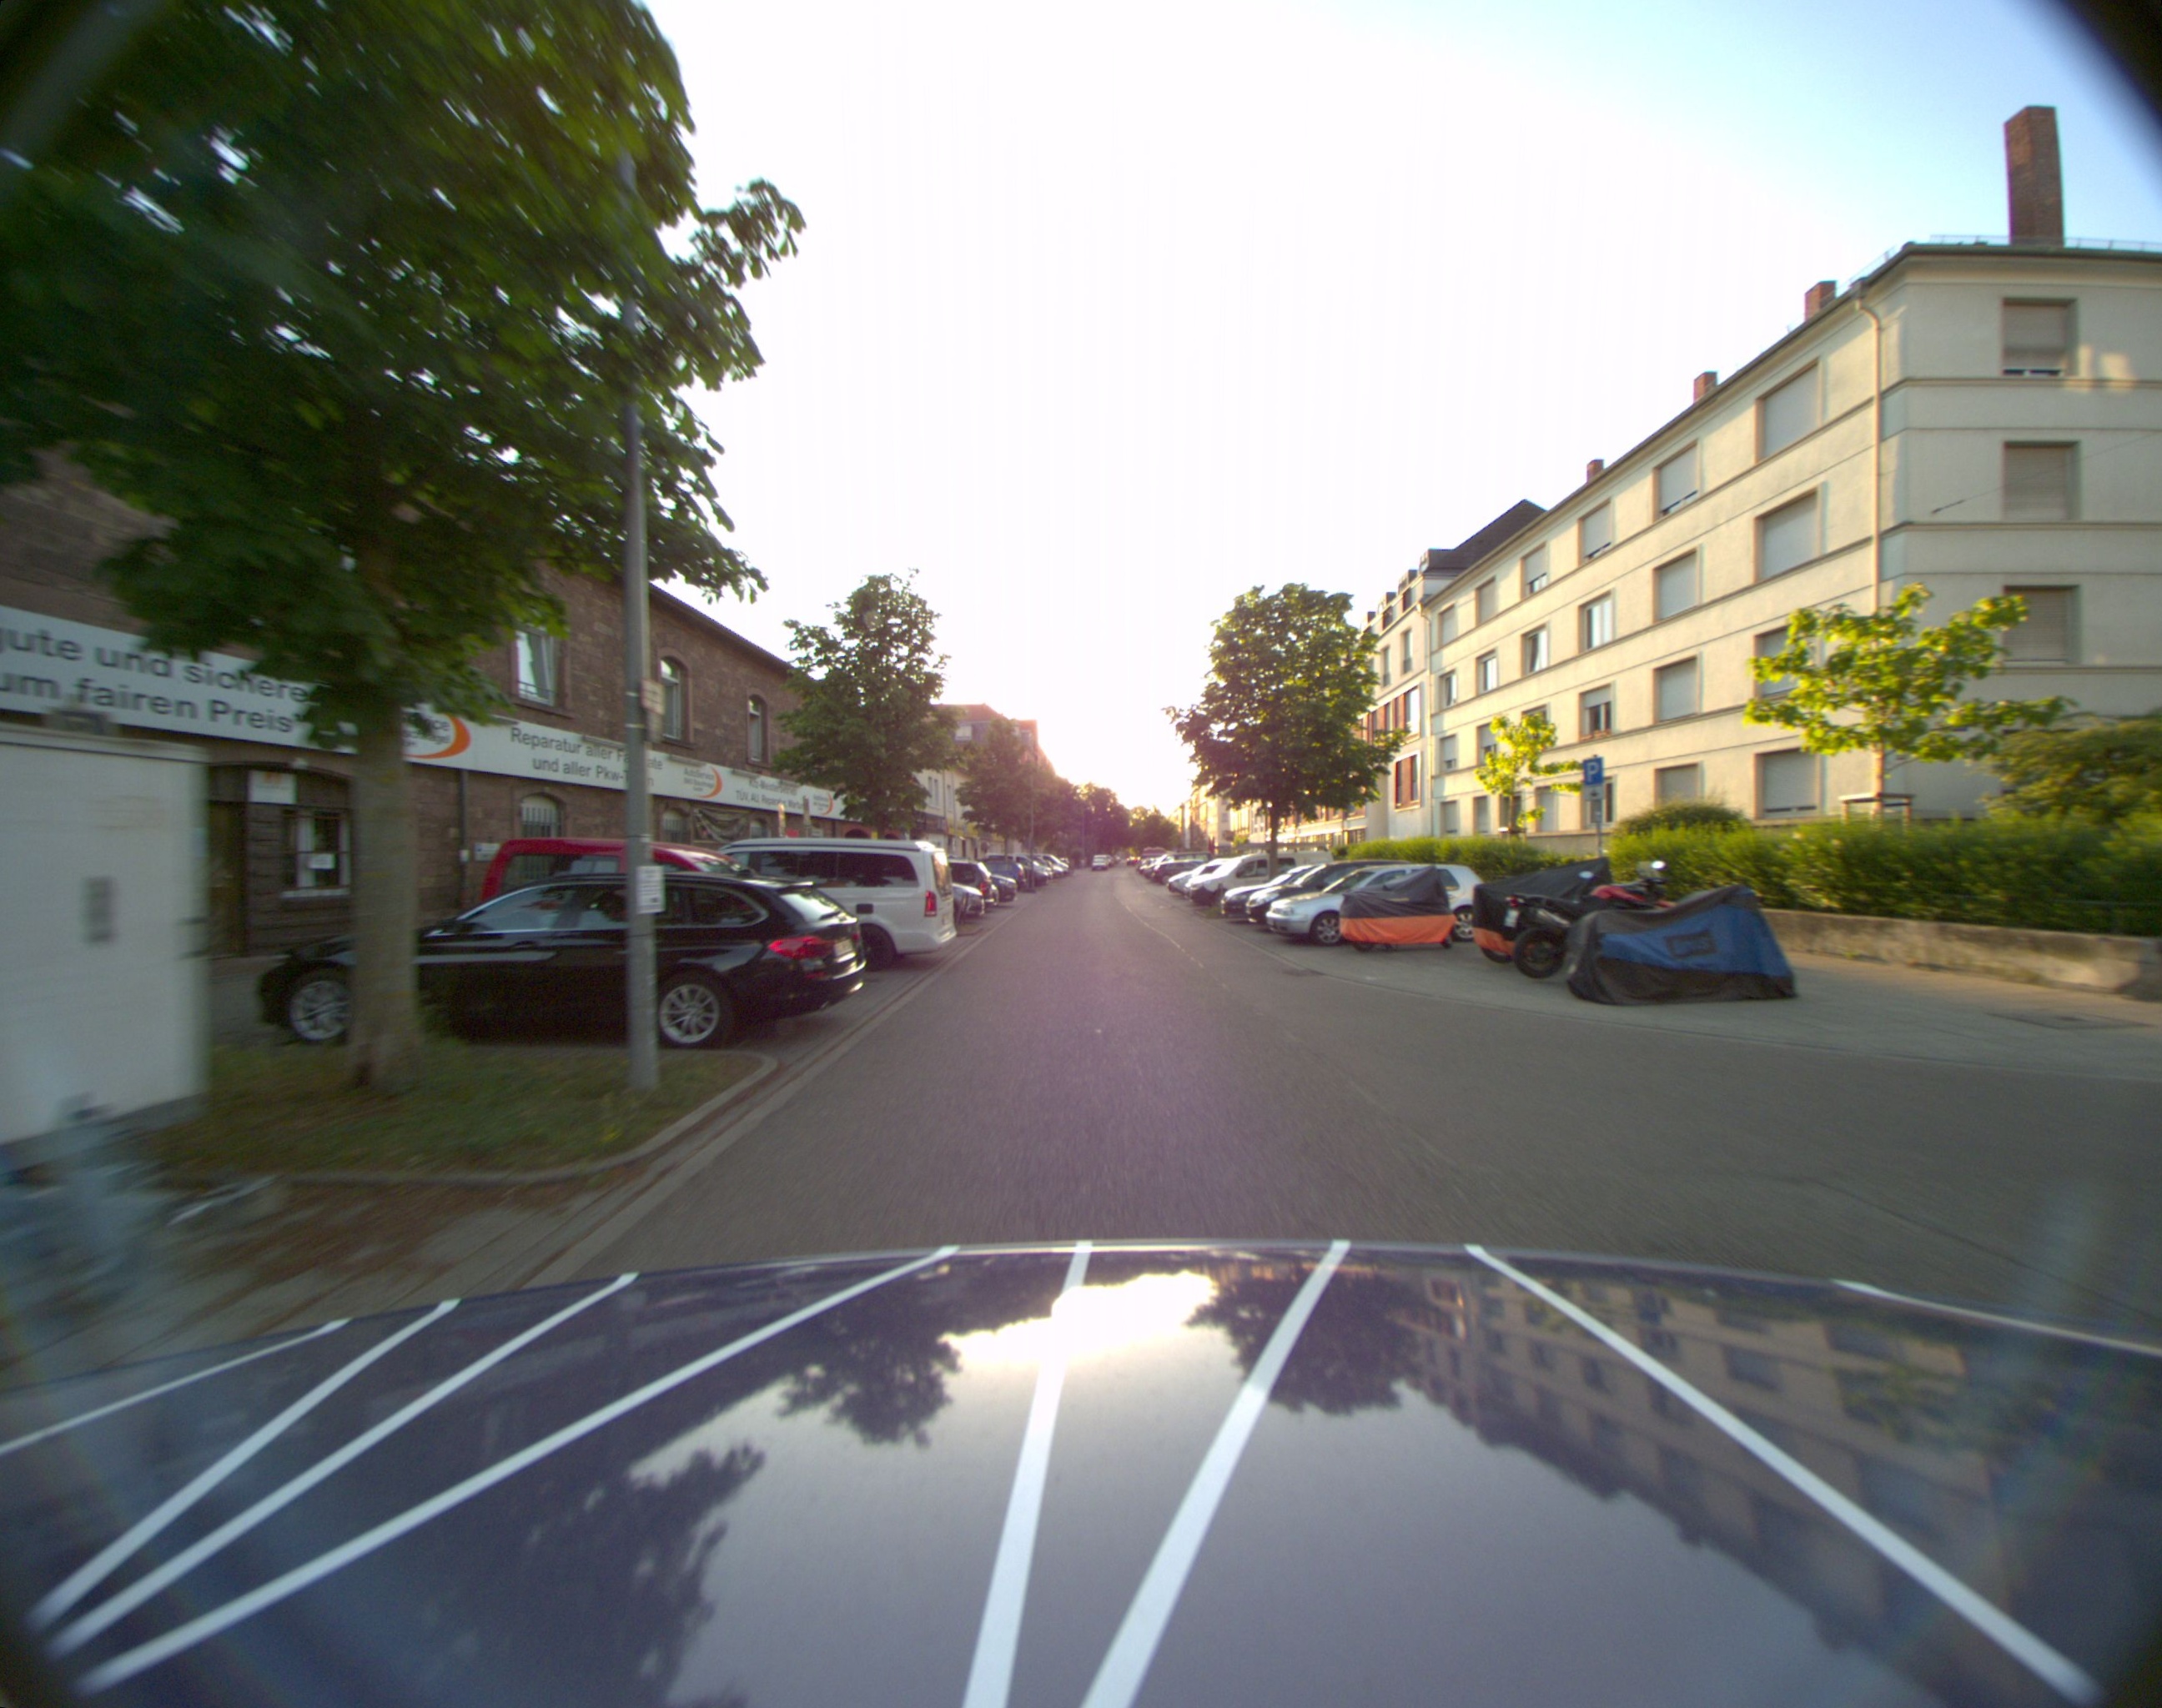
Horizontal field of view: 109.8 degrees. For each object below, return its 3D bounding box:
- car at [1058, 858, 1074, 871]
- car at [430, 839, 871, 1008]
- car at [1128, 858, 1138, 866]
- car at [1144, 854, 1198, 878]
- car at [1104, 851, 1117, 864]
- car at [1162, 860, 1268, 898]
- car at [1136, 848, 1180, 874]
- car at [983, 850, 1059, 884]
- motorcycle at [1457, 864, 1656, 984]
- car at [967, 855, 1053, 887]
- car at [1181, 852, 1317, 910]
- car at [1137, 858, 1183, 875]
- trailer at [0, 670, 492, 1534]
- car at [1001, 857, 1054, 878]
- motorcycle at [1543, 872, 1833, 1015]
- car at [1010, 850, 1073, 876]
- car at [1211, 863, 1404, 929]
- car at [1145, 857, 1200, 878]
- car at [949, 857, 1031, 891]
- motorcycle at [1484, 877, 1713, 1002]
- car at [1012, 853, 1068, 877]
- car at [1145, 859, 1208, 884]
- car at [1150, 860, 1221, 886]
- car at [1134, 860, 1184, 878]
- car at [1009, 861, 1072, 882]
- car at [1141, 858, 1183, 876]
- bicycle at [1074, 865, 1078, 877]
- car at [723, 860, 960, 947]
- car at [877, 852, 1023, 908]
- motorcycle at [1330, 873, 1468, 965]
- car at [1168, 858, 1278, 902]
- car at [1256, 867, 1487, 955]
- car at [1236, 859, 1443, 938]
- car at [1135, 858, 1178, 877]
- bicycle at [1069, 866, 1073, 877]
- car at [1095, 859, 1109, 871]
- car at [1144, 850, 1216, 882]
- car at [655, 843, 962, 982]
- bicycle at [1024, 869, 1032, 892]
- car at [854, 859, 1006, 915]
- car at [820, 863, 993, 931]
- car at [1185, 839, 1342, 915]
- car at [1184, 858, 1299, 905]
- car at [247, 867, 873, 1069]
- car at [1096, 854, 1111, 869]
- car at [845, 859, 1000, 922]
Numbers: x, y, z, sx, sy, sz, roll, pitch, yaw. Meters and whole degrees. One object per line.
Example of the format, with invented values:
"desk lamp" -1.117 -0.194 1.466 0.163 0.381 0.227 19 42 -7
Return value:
"car" -1.874 1.329 93.829 1.800 1.515 4.000 -1 0 1
"car" -5.029 0.777 9.358 4.311 1.788 1.904 -1 0 1
"car" 10.411 1.642 152.729 1.762 1.478 3.784 1 0 1
"car" 7.307 0.985 62.263 4.188 1.884 1.897 0 0 -1
"car" 4.595 0.527 119.771 1.998 2.002 4.000 -1 0 1
"car" 6.007 1.114 34.481 4.419 1.443 1.827 -3 0 0
"car" 7.843 0.733 77.990 4.411 2.541 1.932 -1 0 4
"car" -3.906 0.822 49.791 4.597 1.851 2.012 4 0 4
"motorcycle" 6.573 0.956 10.597 2.236 1.573 0.774 -1 0 4
"car" -4.130 0.991 44.647 4.705 1.622 2.001 3 0 4
"car" 5.888 0.940 27.118 4.431 1.791 1.944 -3 0 3
"car" 7.774 1.255 75.175 4.346 1.515 1.706 -2 0 3
"trailer" -4.705 0.659 2.480 3.996 2.175 2.000 -1 0 2
"car" -3.999 1.000 57.063 3.794 1.488 1.681 2 0 1
"motorcycle" 6.526 0.939 8.289 2.388 1.428 0.881 -1 0 4
"car" -3.356 0.759 65.158 4.970 2.089 2.152 -1 1 7
"car" 5.650 1.037 19.397 4.336 1.397 1.852 -3 0 3
"car" 7.214 1.045 60.310 3.999 1.579 2.052 0 0 -6
"car" -4.733 1.034 39.993 3.996 1.537 1.845 3 0 2
"motorcycle" 6.316 1.029 9.375 2.236 1.428 0.774 -1 0 4
"car" -3.320 0.923 62.624 4.301 1.847 2.001 1 0 5
"car" 6.264 1.146 50.187 3.894 1.484 1.654 -3 0 0
"car" 6.555 1.169 47.781 4.149 1.408 1.738 -3 0 -2
"car" 6.896 1.295 67.612 4.272 1.485 1.789 -1 0 4
"car" -3.155 1.334 59.594 4.733 1.487 2.000 1 0 2
"car" 7.756 1.227 72.819 3.957 1.531 1.756 -2 0 5
"bicycle" -0.469 1.555 71.934 0.357 1.093 1.972 -1 0 1
"car" -4.506 0.917 14.757 3.997 1.501 1.776 -1 0 1
"car" -4.596 0.929 27.242 4.798 1.743 2.018 2 -1 0
"motorcycle" 5.268 1.054 12.637 1.991 1.428 0.721 -1 0 -4
"car" 5.870 1.058 31.865 4.253 1.611 1.813 -3 -1 2
"car" 5.365 1.035 14.396 3.722 1.497 1.690 -1 0 2
"car" 5.603 0.945 16.856 3.996 1.574 1.729 -1 0 3
"car" 6.963 1.249 70.228 3.895 1.608 1.700 -2 0 5
"bicycle" -0.951 1.622 71.903 0.357 1.018 1.972 -1 0 1
"car" 2.555 1.312 93.271 1.732 1.367 3.763 -1 0 1
"car" 6.805 0.829 52.753 4.865 2.042 2.001 -1 0 5
"car" -4.022 0.837 11.787 3.997 1.892 2.000 -1 0 0
"bicycle" -2.944 1.456 42.292 0.309 1.185 1.762 -1 0 1
"car" -4.753 1.043 24.467 4.425 1.565 1.982 2 -1 0
"car" -4.361 1.062 19.431 3.956 1.556 1.820 -1 0 0
"car" 5.751 0.732 24.463 4.522 2.058 2.001 -4 -1 4
"car" 6.160 1.042 29.407 3.997 1.475 1.756 -4 0 0
"car" -4.370 0.921 6.896 4.438 1.490 1.773 -1 0 1
"car" 2.892 1.000 99.108 1.939 1.893 4.056 -1 0 1
"car" -4.456 1.000 21.843 3.997 1.609 1.895 2 0 0
